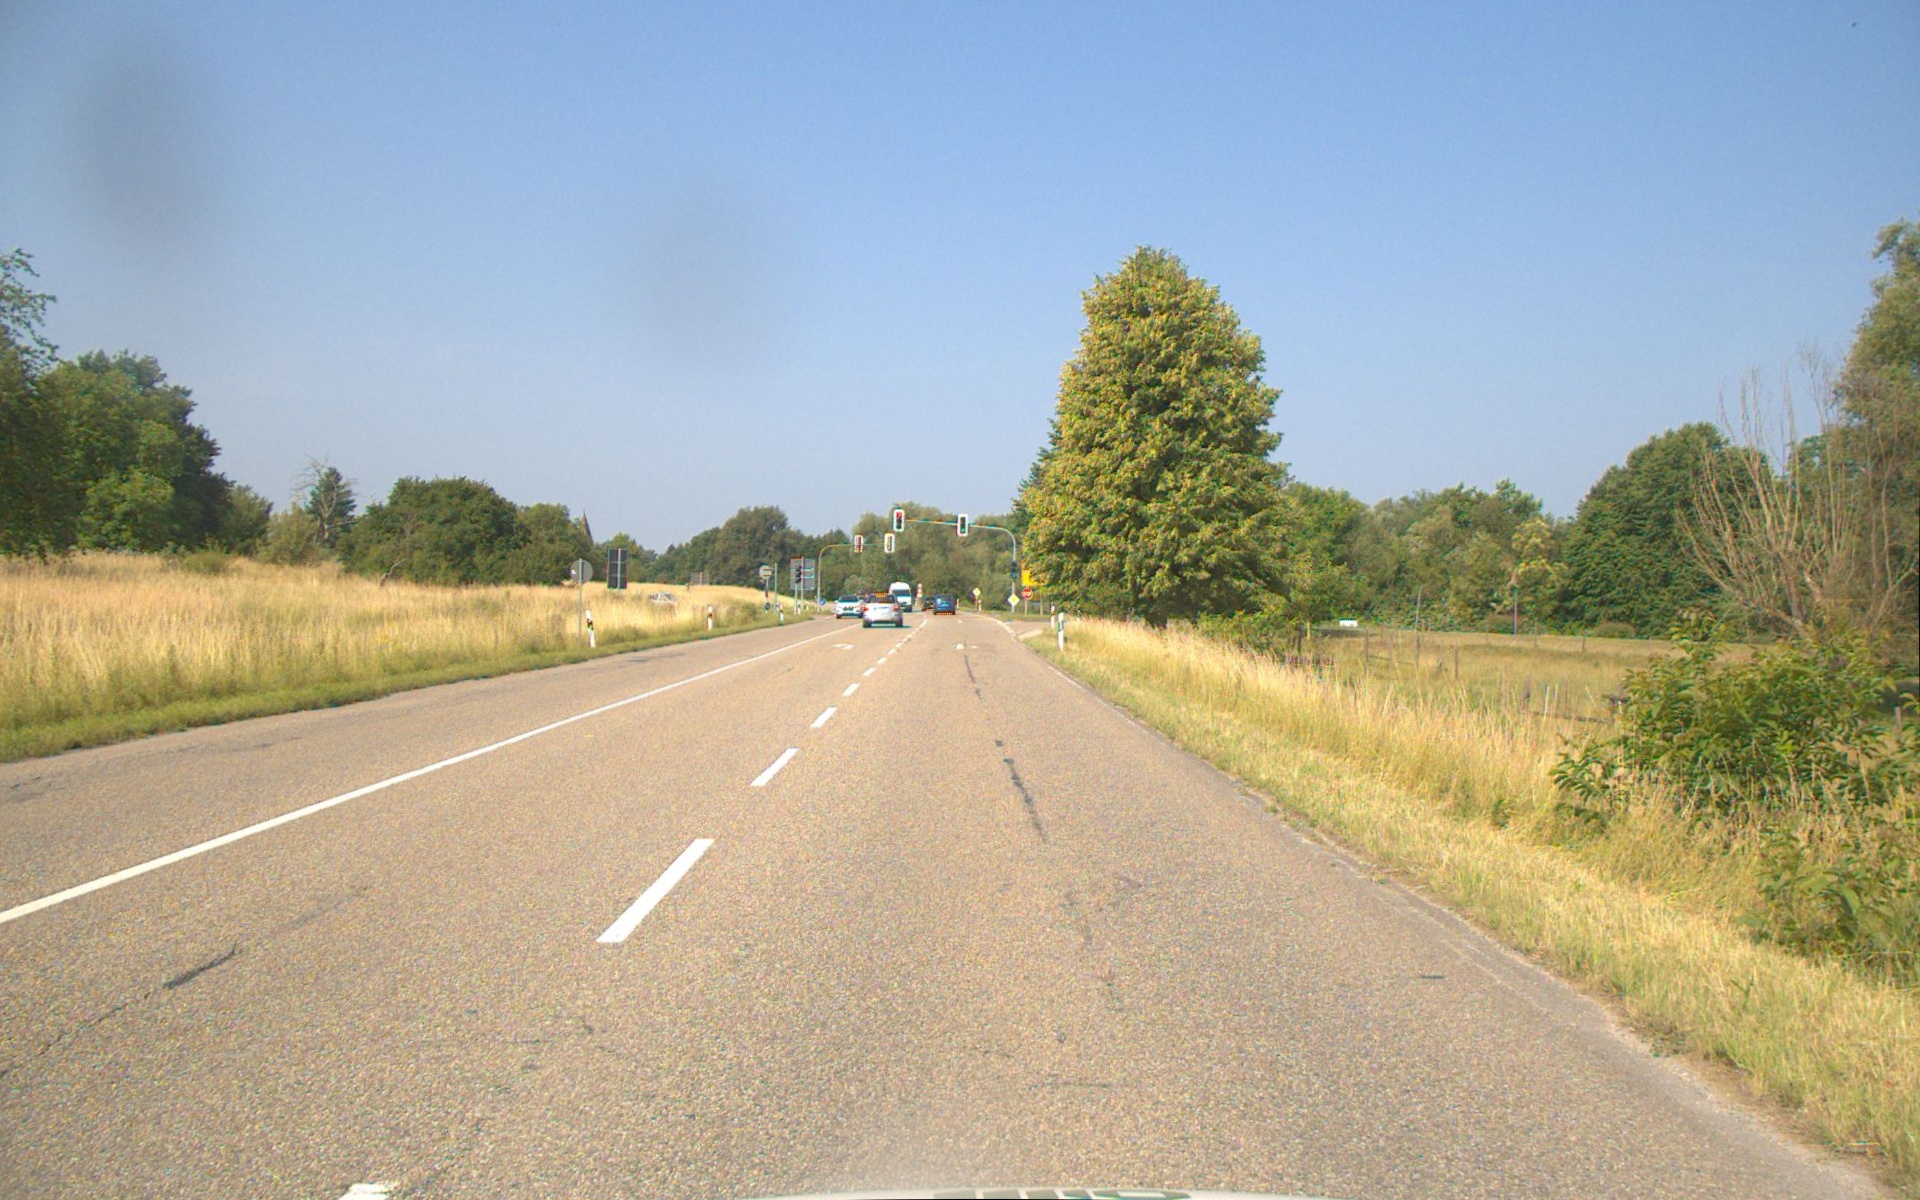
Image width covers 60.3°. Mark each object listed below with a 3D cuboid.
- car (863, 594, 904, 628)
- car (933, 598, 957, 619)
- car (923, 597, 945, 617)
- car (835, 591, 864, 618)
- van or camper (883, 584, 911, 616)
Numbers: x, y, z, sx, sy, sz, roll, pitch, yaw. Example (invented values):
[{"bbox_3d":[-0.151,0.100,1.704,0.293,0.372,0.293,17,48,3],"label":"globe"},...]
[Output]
[{"bbox_3d":[-3.716,0.524,80.224,1.861,1.538,3.998,3,0,-3],"label":"car"},{"bbox_3d":[-1.220,0.649,133.246,1.779,1.547,4.000,4,0,0],"label":"car"},{"bbox_3d":[-2.523,0.680,160.753,1.953,1.847,3.999,4,0,-1],"label":"car"},{"bbox_3d":[-7.846,0.328,117.278,1.559,1.758,4.001,4,0,2],"label":"car"},{"bbox_3d":[-5.817,0.006,153.175,2.219,2.756,5.262,4,0,0],"label":"van or camper"}]
